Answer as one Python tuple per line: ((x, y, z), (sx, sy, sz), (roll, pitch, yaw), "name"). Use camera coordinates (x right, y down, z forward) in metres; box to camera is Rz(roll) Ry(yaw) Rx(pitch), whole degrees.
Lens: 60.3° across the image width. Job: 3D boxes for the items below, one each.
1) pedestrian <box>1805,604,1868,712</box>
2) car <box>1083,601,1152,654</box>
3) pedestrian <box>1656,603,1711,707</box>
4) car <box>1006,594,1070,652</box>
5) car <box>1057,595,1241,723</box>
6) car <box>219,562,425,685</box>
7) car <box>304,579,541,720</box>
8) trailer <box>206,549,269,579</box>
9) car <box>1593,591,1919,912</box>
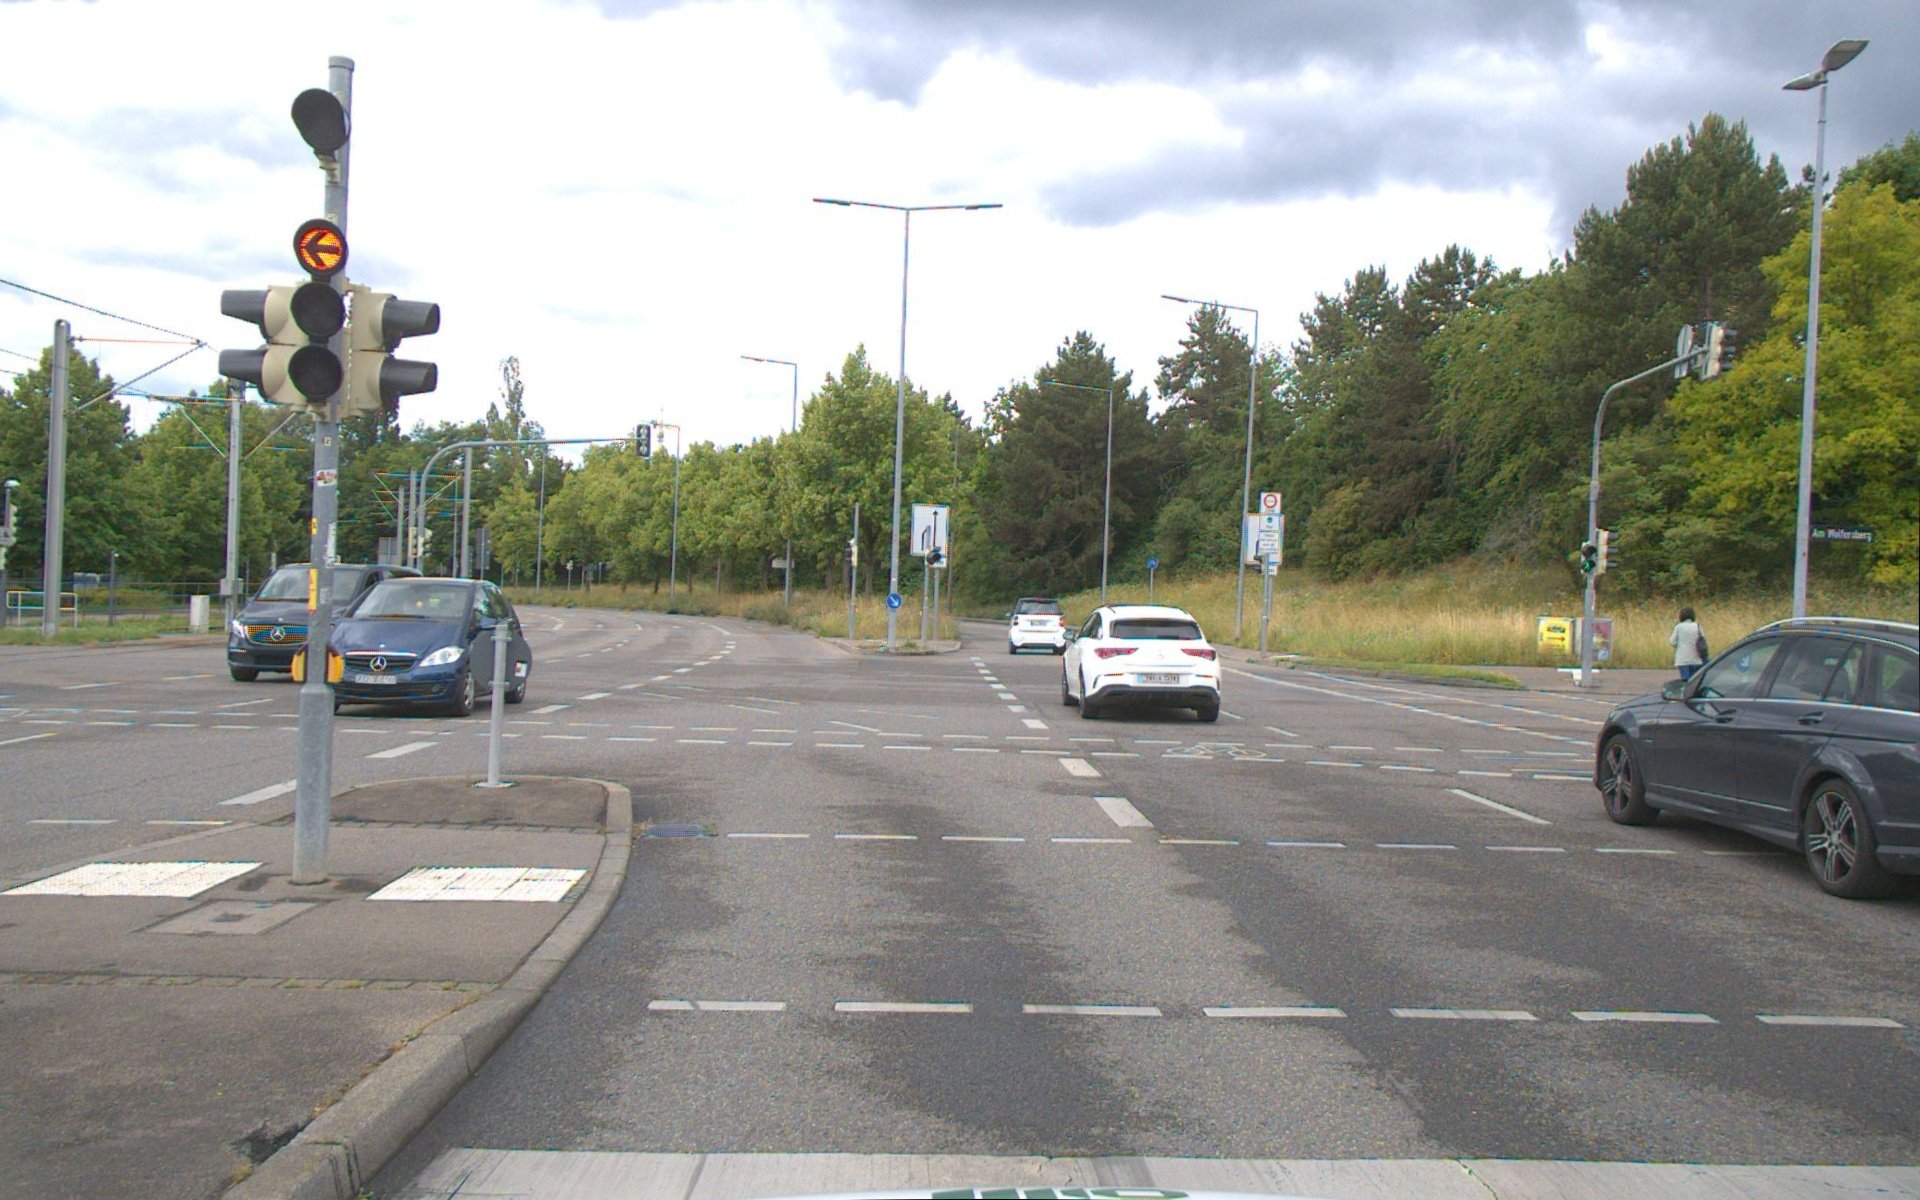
((13.645, 0.893, 25.757), (0.630, 1.640, 0.714), (1, -1, 5), "pedestrian")
((4.594, 0.783, 48.609), (1.580, 1.479, 3.881), (1, 0, -1), "car")
((11.943, 0.901, 27.315), (0.630, 1.691, 0.714), (1, -1, 6), "pedestrian")
((2.162, 0.635, 46.231), (1.560, 1.543, 2.765), (1, 0, -2), "car")
((2.453, 0.735, 22.516), (1.807, 1.533, 4.528), (1, 0, -2), "car")
((-10.381, 0.348, 27.328), (1.851, 1.844, 5.086), (0, 0, -5), "car")
((-6.396, 0.558, 20.100), (1.700, 1.535, 3.659), (1, 0, -1), "car")
((-76.782, -3.794, 175.820), (5.944, 3.065, 2.755), (1, -1, 22), "trailer")
((5.487, 0.740, 9.829), (1.711, 1.511, 4.355), (1, 1, -1), "car")
